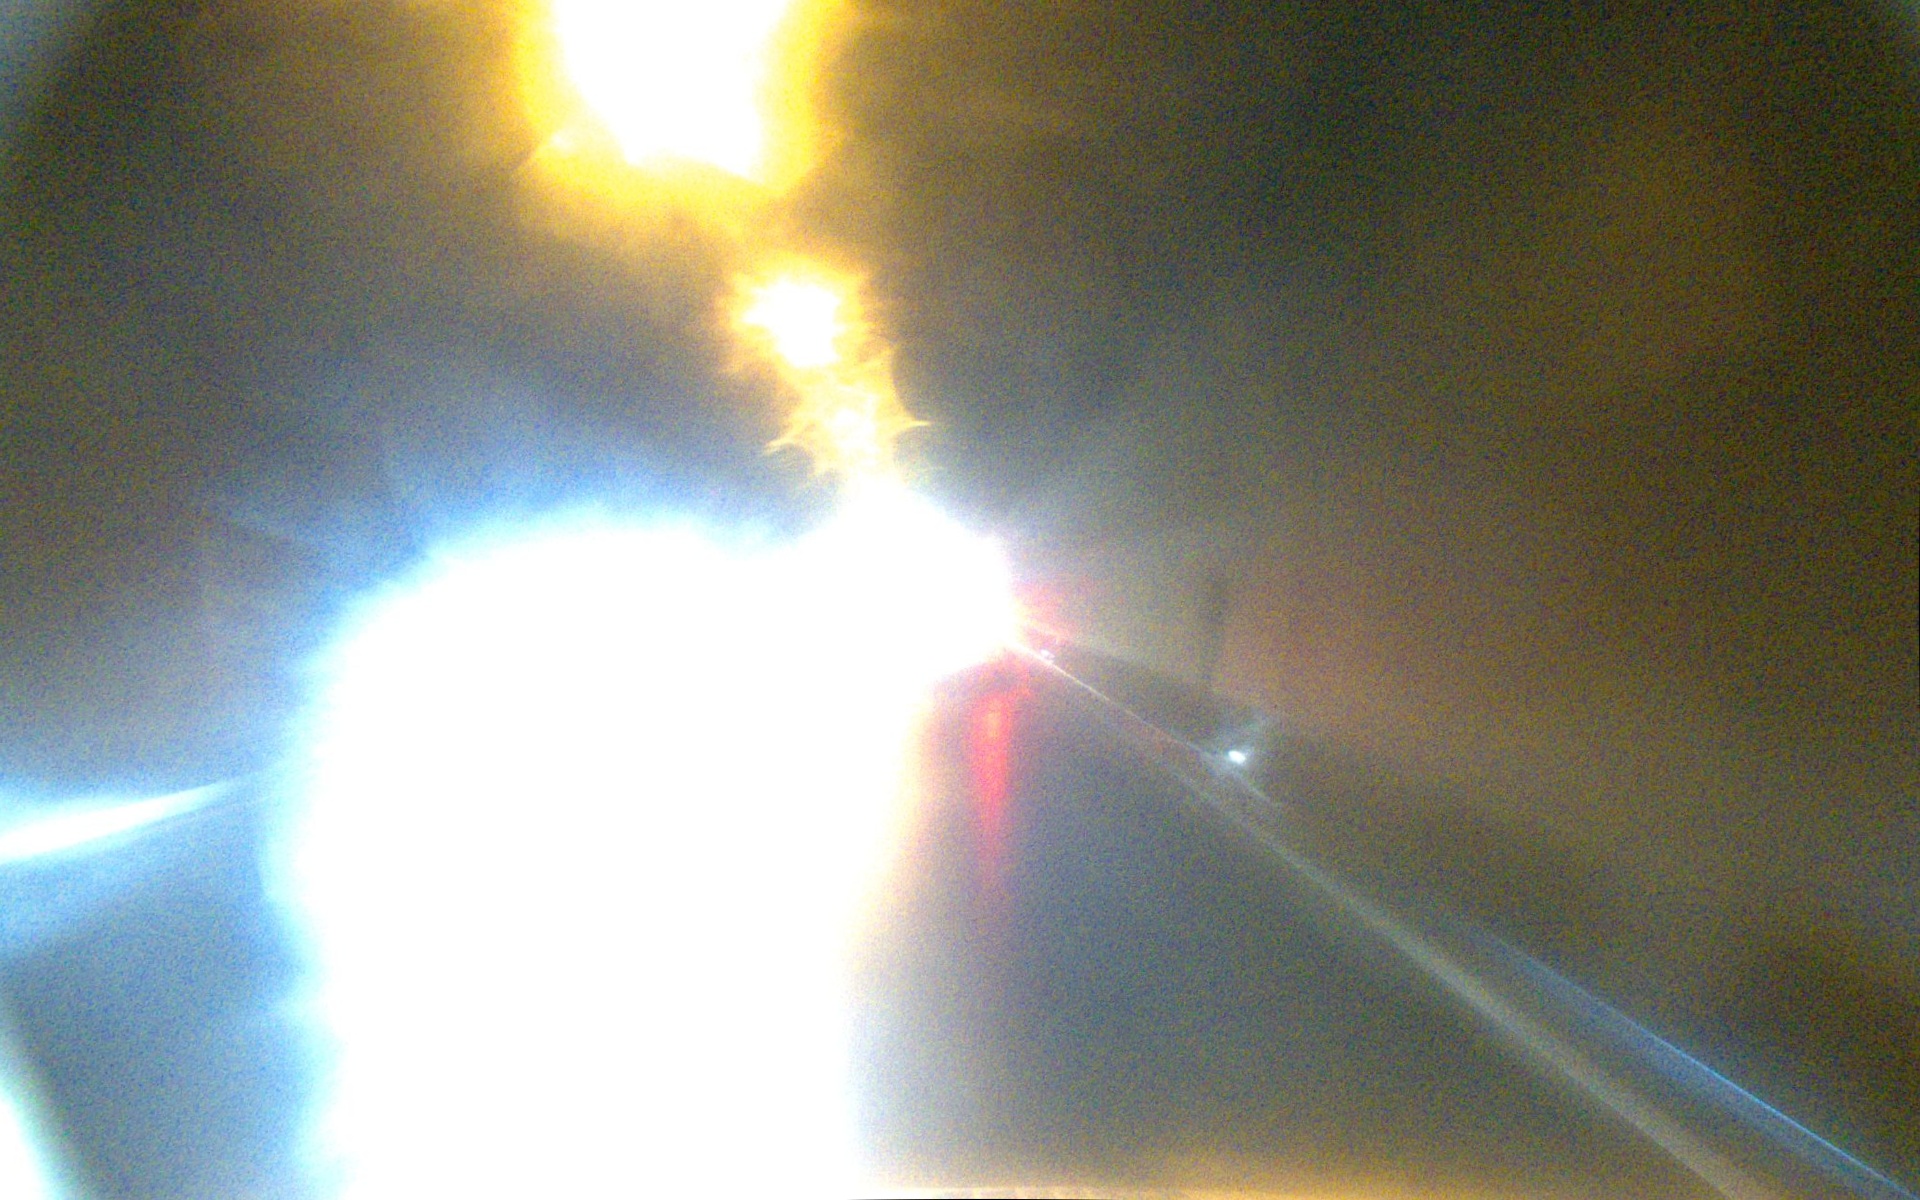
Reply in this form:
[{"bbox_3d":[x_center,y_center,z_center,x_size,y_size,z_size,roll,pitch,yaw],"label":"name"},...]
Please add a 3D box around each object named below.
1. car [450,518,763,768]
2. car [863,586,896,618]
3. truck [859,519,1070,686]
[{"bbox_3d":[-3.208,0.352,16.026,2.042,2.049,4.559,1,0,0],"label":"car"},{"bbox_3d":[-4.282,0.104,88.638,1.566,1.641,3.995,1,0,-1],"label":"car"},{"bbox_3d":[0.024,0.043,31.637,3.463,2.740,8.954,0,0,-1],"label":"truck"}]
